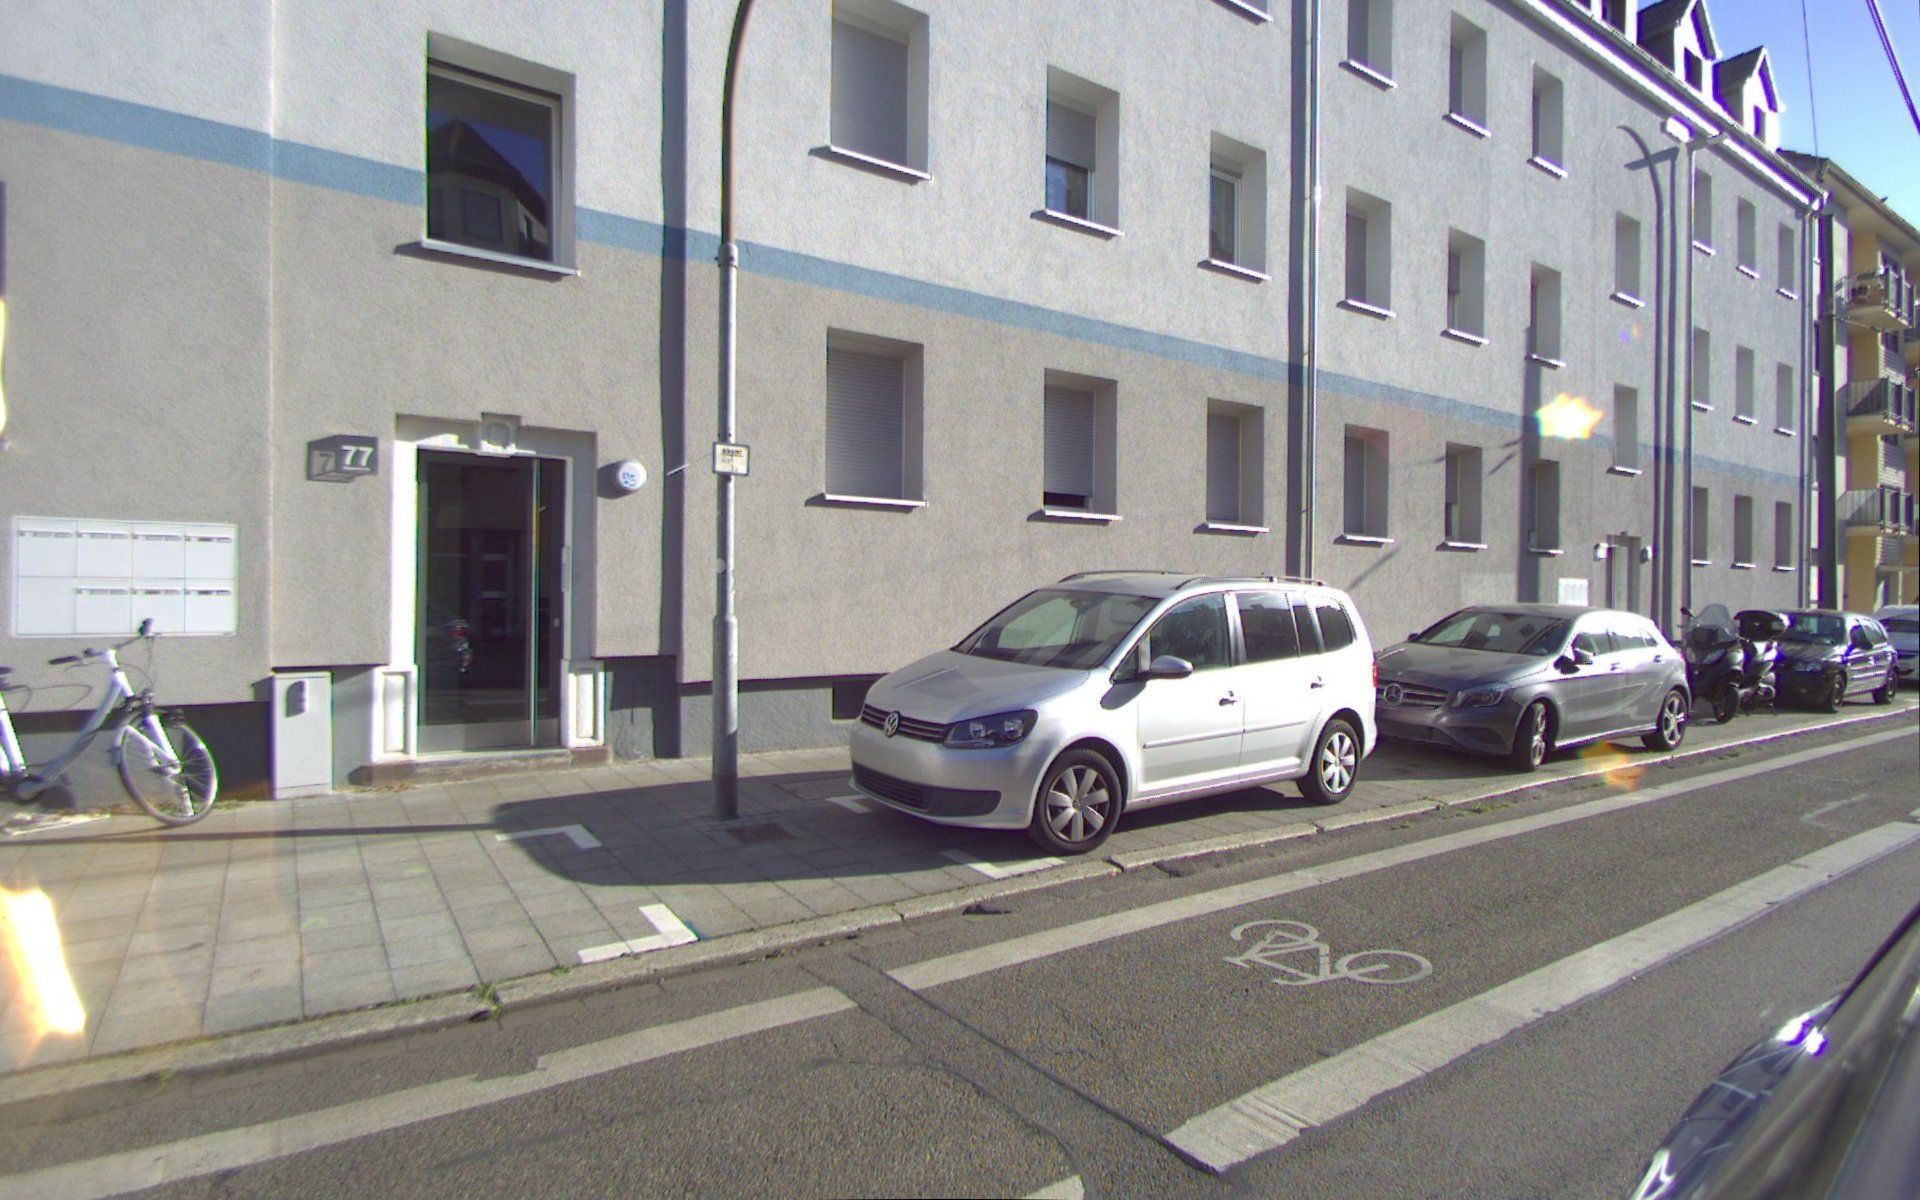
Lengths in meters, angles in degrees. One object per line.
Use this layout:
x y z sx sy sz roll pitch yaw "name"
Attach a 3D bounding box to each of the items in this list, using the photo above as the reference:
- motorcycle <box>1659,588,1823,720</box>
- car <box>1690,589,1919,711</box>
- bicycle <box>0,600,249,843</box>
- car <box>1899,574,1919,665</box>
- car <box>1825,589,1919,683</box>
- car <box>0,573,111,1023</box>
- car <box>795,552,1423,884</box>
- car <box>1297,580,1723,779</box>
10.197 0.642 13.179 2.656 1.540 0.809 0 3 -34 "motorcycle"
12.892 0.672 15.375 3.828 1.590 1.615 0 2 -33 "car"
-5.259 0.614 5.489 2.283 1.212 1.099 0 1 -36 "bicycle"
22.911 0.453 22.425 4.907 1.945 1.937 0 2 -34 "car"
18.042 0.636 19.011 3.830 1.590 1.807 0 2 -35 "car"
-5.130 0.650 2.800 4.122 1.448 1.519 -1 2 -35 "car"
1.274 0.571 7.248 4.541 1.686 1.760 0 2 -38 "car"
5.596 0.642 10.175 4.280 1.574 1.872 0 2 -32 "car"
